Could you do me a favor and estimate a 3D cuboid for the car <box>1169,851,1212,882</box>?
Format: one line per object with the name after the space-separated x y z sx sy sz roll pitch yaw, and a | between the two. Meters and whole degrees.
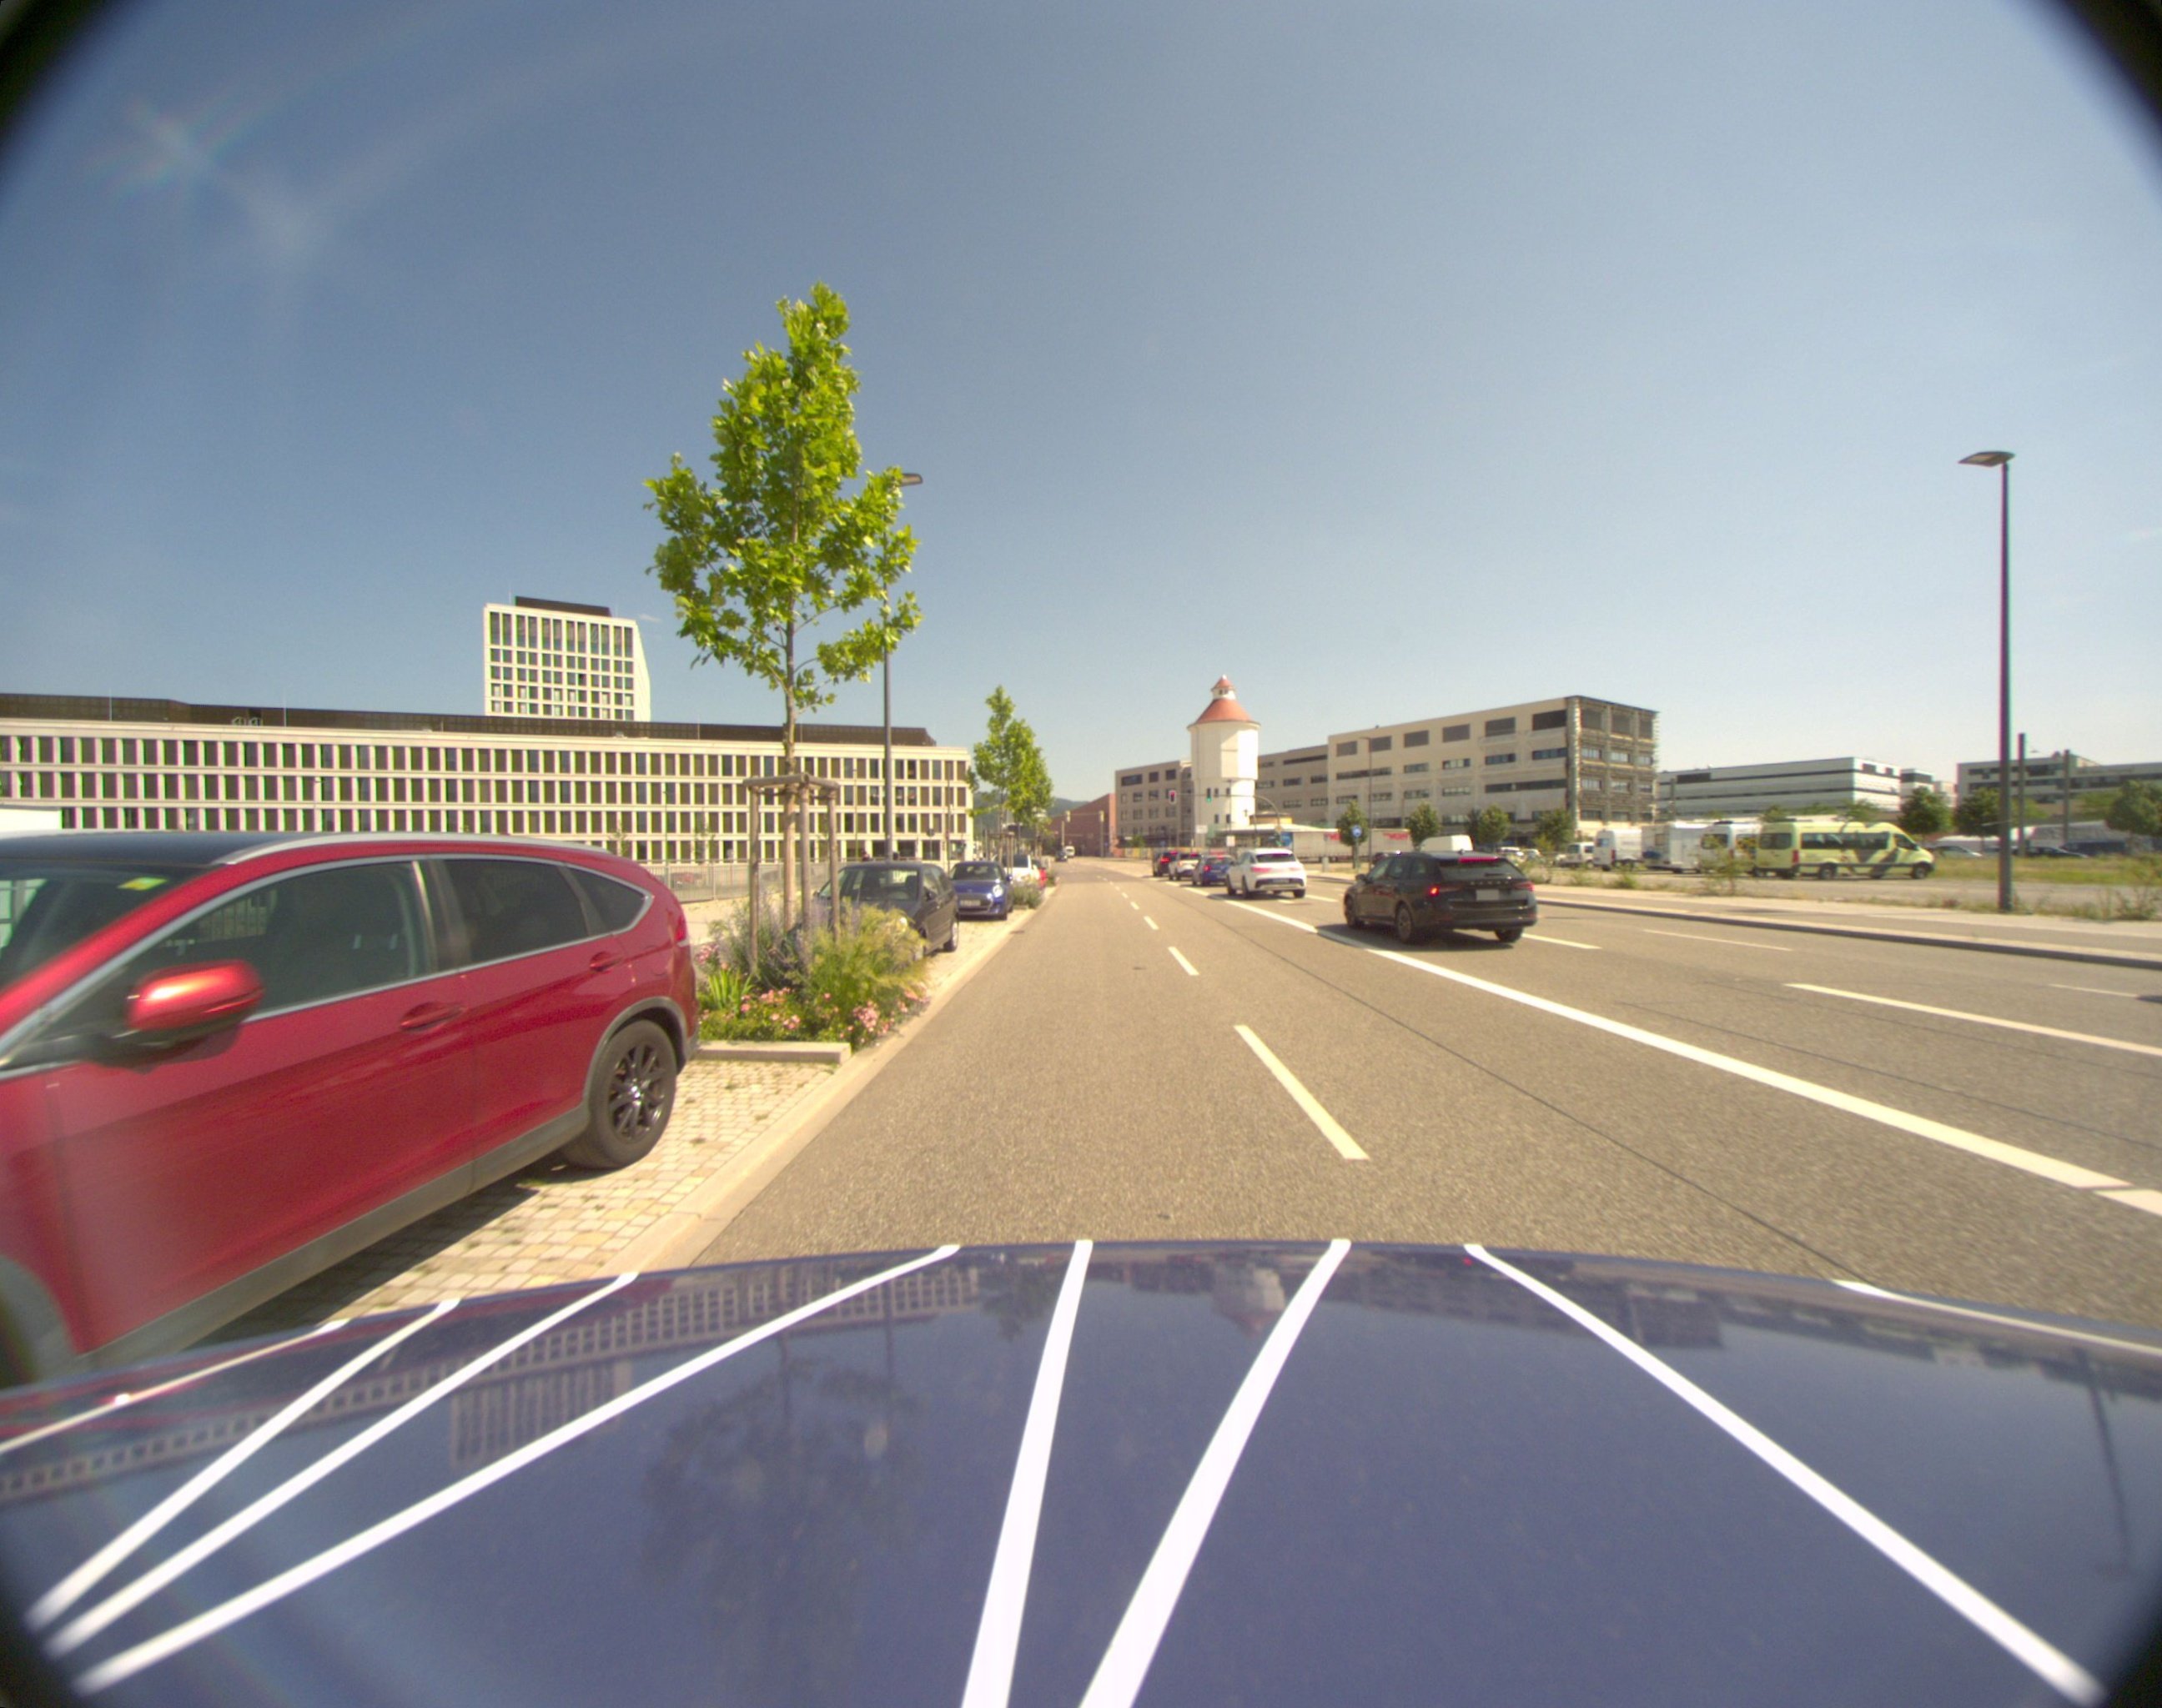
6.224 0.693 43.716 1.783 1.672 4.098 -1 0 -2 | car

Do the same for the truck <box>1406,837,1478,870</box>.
29.968 -0.081 63.372 2.174 2.640 5.937 -1 1 -14 | truck

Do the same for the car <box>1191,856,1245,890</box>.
6.307 0.835 35.514 1.790 1.413 4.281 -2 1 1 | car

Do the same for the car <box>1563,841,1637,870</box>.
34.540 0.087 50.629 3.876 1.748 1.657 -2 0 -3 | car

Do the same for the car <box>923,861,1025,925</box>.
-2.627 0.920 19.668 1.913 1.470 4.158 0 0 2 | car

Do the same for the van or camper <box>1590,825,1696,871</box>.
34.848 -0.364 47.227 4.912 2.646 2.260 -2 0 1 | van or camper

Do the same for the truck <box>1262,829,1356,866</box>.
28.054 -0.889 93.355 10.987 4.045 3.296 -3 2 -17 | truck

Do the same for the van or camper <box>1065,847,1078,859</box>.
-2.001 -0.247 159.376 2.159 2.400 5.678 -1 0 -6 | van or camper

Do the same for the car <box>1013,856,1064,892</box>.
-1.907 0.889 35.205 1.998 1.510 4.000 -2 0 1 | car

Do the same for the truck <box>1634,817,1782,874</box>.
35.310 -0.496 42.969 6.160 2.885 2.570 -2 2 2 | truck

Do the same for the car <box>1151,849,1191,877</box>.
6.068 0.586 51.623 1.944 1.778 4.654 -2 0 -2 | car

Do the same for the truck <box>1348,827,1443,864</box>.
39.763 -1.135 96.102 10.951 4.251 3.341 -2 2 -10 | truck

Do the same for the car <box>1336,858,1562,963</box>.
5.980 0.818 13.057 1.791 1.390 4.572 -2 0 2 | car

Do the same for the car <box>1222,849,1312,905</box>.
6.223 0.687 25.932 1.918 1.640 4.730 -3 0 1 | car

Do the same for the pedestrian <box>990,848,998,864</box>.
-10.643 0.236 92.890 0.880 1.816 1.664 -1 1 -6 | pedestrian

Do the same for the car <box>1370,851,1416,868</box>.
32.176 0.569 78.450 4.001 1.630 1.878 -1 1 -14 | car

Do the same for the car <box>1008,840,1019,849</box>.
-12.323 -1.696 138.990 1.811 1.499 3.996 -2 2 -8 | car

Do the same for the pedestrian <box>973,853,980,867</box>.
-13.299 0.748 96.633 0.827 1.774 0.926 0 2 -8 | pedestrian

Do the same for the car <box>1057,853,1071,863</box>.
-2.683 0.608 119.586 1.784 1.552 3.828 -1 0 -9 | car

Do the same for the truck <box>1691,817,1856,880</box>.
34.559 -0.291 38.067 5.849 2.809 2.570 -2 2 2 | truck

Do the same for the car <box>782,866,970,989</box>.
-2.802 0.937 11.258 1.624 1.470 3.824 -1 0 2 | car

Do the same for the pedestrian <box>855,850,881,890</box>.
-8.800 0.650 31.432 0.752 1.600 0.949 2 1 1 | pedestrian

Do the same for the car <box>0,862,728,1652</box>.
-3.158 0.848 2.305 1.913 1.607 4.549 -1 0 2 | car

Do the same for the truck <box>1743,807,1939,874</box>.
34.814 -0.609 34.953 6.654 2.809 2.602 -2 1 -3 | truck

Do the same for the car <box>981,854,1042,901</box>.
-2.570 0.820 29.163 1.877 1.618 4.876 -1 0 0 | car
